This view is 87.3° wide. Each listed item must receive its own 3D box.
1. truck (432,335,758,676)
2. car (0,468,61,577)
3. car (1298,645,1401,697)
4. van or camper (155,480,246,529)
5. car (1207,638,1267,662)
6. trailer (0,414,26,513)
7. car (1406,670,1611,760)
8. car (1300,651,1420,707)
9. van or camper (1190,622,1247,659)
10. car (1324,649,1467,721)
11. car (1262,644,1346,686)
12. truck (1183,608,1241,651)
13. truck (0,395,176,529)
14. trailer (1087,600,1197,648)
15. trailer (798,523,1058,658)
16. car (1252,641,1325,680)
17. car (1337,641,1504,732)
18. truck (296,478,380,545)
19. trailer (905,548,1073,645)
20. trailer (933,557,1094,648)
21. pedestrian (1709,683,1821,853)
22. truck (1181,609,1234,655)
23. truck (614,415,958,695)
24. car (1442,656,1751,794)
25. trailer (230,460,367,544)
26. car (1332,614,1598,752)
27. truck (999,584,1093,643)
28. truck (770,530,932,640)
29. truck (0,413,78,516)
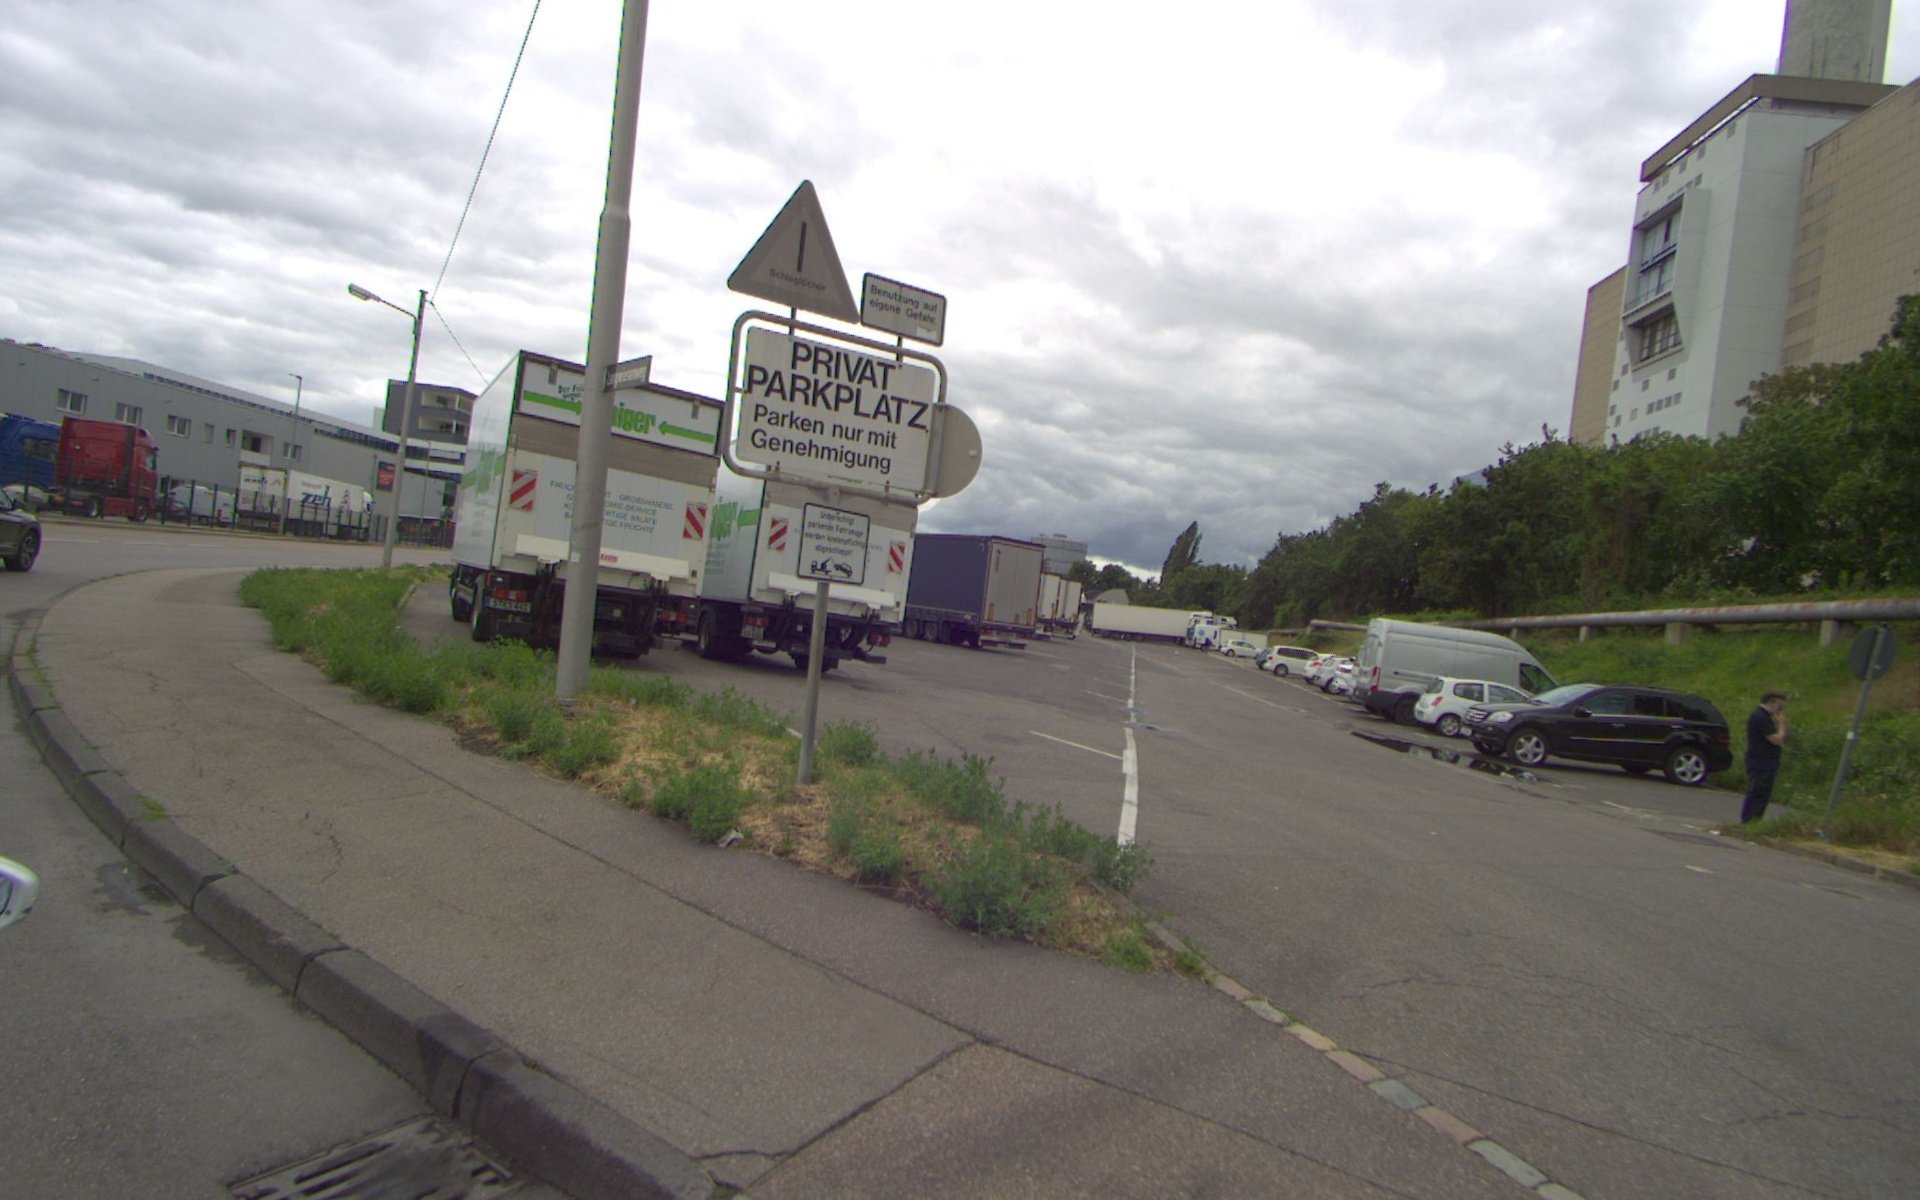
[{"bbox_3d":[-6.278,-1.238,16.005,3.040,3.675,8.537,8,-1,-30],"label":"truck"},{"bbox_3d":[-15.862,-1.329,15.244,1.976,1.704,4.344,8,0,-25],"label":"car"},{"bbox_3d":[18.068,3.269,46.808,3.924,1.815,2.001,8,0,8],"label":"car"},{"bbox_3d":[-55.933,-7.018,74.179,4.895,2.796,2.104,7,0,1],"label":"van or camper"},{"bbox_3d":[24.444,4.367,88.799,4.668,1.392,2.001,8,0,5],"label":"car"},{"bbox_3d":[-48.785,-6.925,42.704,13.782,4.234,3.032,8,0,-9],"label":"trailer"},{"bbox_3d":[13.461,2.790,24.926,3.924,1.526,1.870,7,0,9],"label":"car"},{"bbox_3d":[15.794,3.118,39.918,3.924,1.548,2.001,8,0,8],"label":"car"},{"bbox_3d":[25.325,3.990,98.726,4.898,2.973,2.001,7,0,9],"label":"van or camper"},{"bbox_3d":[14.948,2.889,34.726,3.924,1.815,2.001,8,0,8],"label":"car"},{"bbox_3d":[18.516,3.478,54.351,3.924,1.659,2.002,8,0,12],"label":"car"},{"bbox_3d":[27.862,3.257,111.527,5.859,4.309,1.956,4,0,9],"label":"truck"},{"bbox_3d":[-34.404,-5.211,39.566,2.887,4.069,6.918,7,0,-16],"label":"truck"},{"bbox_3d":[20.278,2.677,112.715,11.729,4.457,1.969,4,0,9],"label":"trailer"},{"bbox_3d":[-1.846,-0.658,40.079,3.038,4.027,12.963,7,1,-37],"label":"trailer"},{"bbox_3d":[20.174,3.690,61.904,3.911,1.778,1.922,8,0,12],"label":"car"},{"bbox_3d":[13.616,2.510,29.977,3.924,2.076,2.001,7,0,8],"label":"car"},{"bbox_3d":[-45.325,-6.321,73.551,3.086,4.170,6.922,3,1,-14],"label":"truck"},{"bbox_3d":[1.423,-0.430,63.289,3.176,4.718,12.979,7,1,-34],"label":"trailer"},{"bbox_3d":[3.241,-0.032,67.446,3.176,4.718,12.979,7,1,-34],"label":"trailer"},{"bbox_3d":[9.509,1.952,11.916,0.685,1.842,0.698,7,0,22],"label":"pedestrian"},{"bbox_3d":[26.607,3.470,108.259,4.898,4.267,2.001,7,0,9],"label":"truck"},{"bbox_3d":[-3.733,-0.784,18.734,3.043,3.671,8.537,10,-2,-30],"label":"truck"},{"bbox_3d":[12.360,2.383,19.851,4.565,1.904,2.001,8,0,7],"label":"car"},{"bbox_3d":[-43.711,-6.233,67.226,3.091,4.316,13.978,3,0,-14],"label":"trailer"},{"bbox_3d":[13.456,2.169,27.187,5.787,2.812,2.026,7,0,9],"label":"car"},{"bbox_3d":[7.048,1.068,83.875,3.045,4.050,7.962,7,-1,-34],"label":"truck"},{"bbox_3d":[-4.966,-0.761,44.238,3.048,4.050,7.954,7,-1,-37],"label":"truck"},{"bbox_3d":[-42.910,-6.194,44.124,5.559,4.069,2.907,8,0,-32],"label":"truck"}]
